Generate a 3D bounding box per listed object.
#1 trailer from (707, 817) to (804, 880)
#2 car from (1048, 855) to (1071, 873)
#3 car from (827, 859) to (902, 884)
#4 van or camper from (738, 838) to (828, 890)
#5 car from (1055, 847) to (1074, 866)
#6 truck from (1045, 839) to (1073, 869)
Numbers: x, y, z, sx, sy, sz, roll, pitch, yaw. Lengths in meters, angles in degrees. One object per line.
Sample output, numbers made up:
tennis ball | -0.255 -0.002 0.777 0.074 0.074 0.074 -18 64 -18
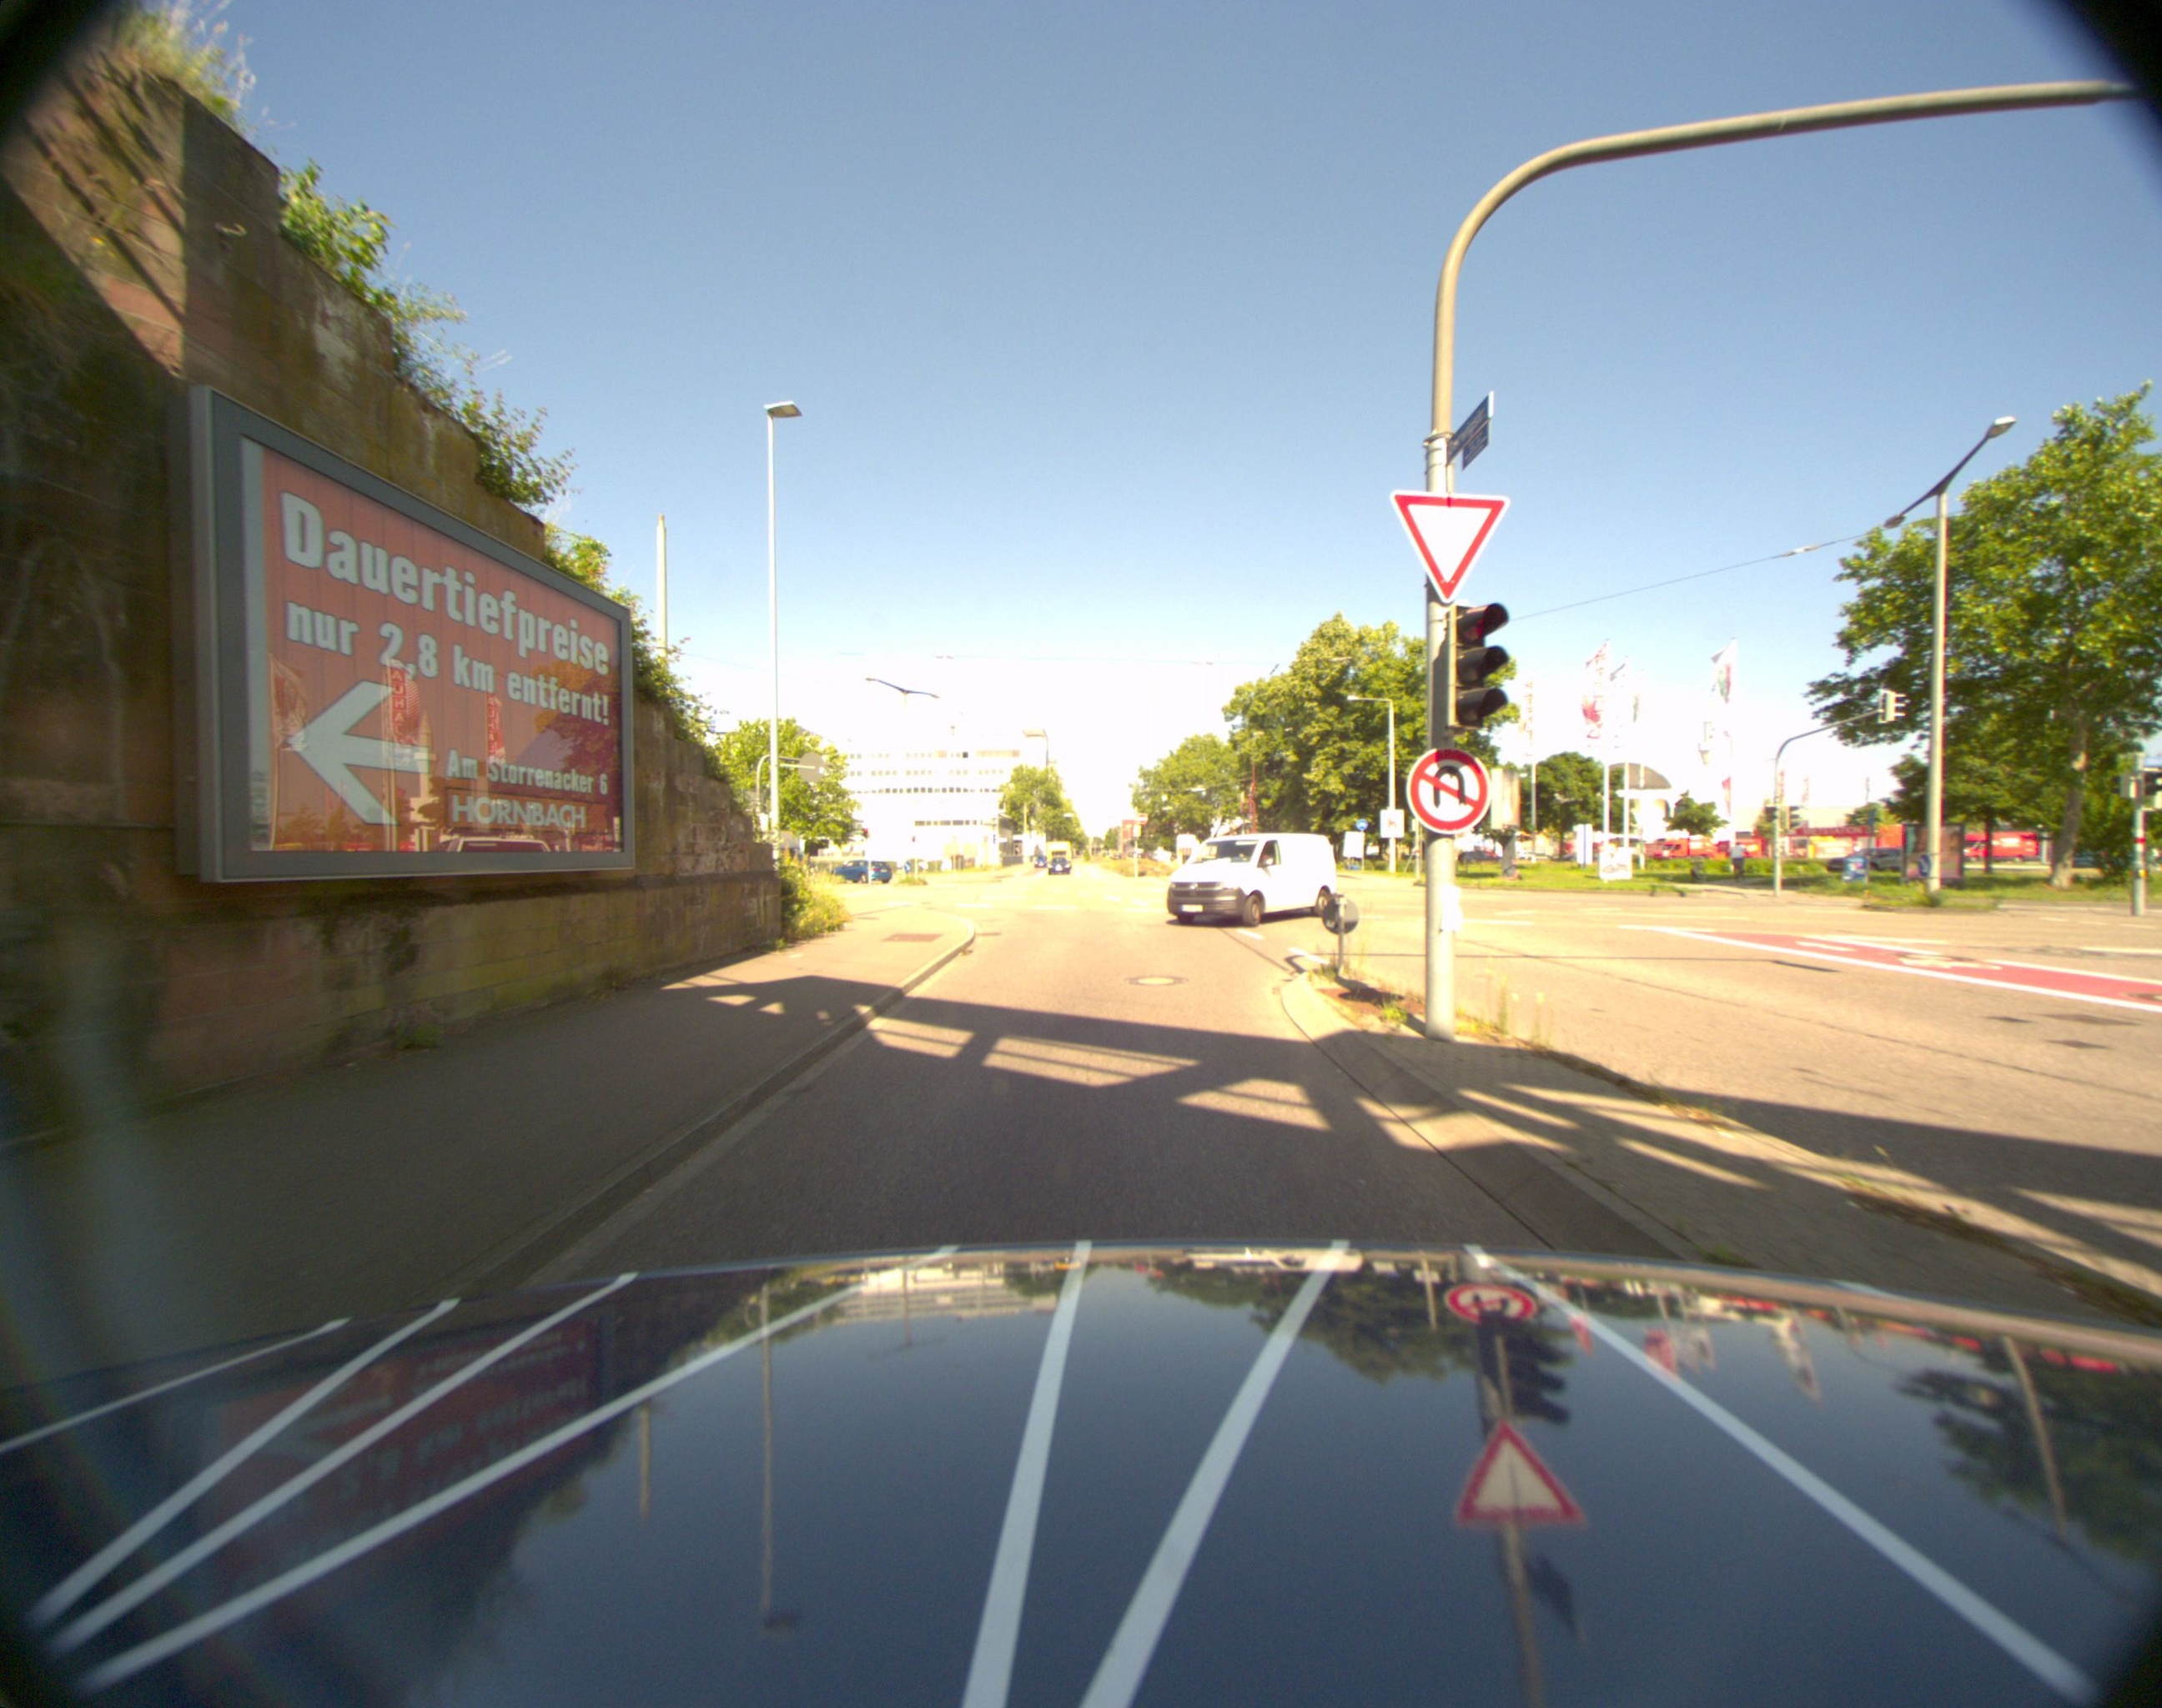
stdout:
trailer | -24.539 -0.338 57.056 7.781 4.200 2.946 -3 0 36
car | -1.763 0.800 61.002 1.823 1.346 3.999 -1 0 -2
car | -13.025 1.031 45.665 4.184 1.424 2.004 0 1 32
van or camper | -16.157 0.559 41.031 5.133 2.570 2.004 -3 0 37
car | -1.800 0.261 83.491 1.999 2.002 3.999 -1 1 -2
truck | -2.246 0.050 76.826 2.410 2.846 5.803 -3 -1 -4
